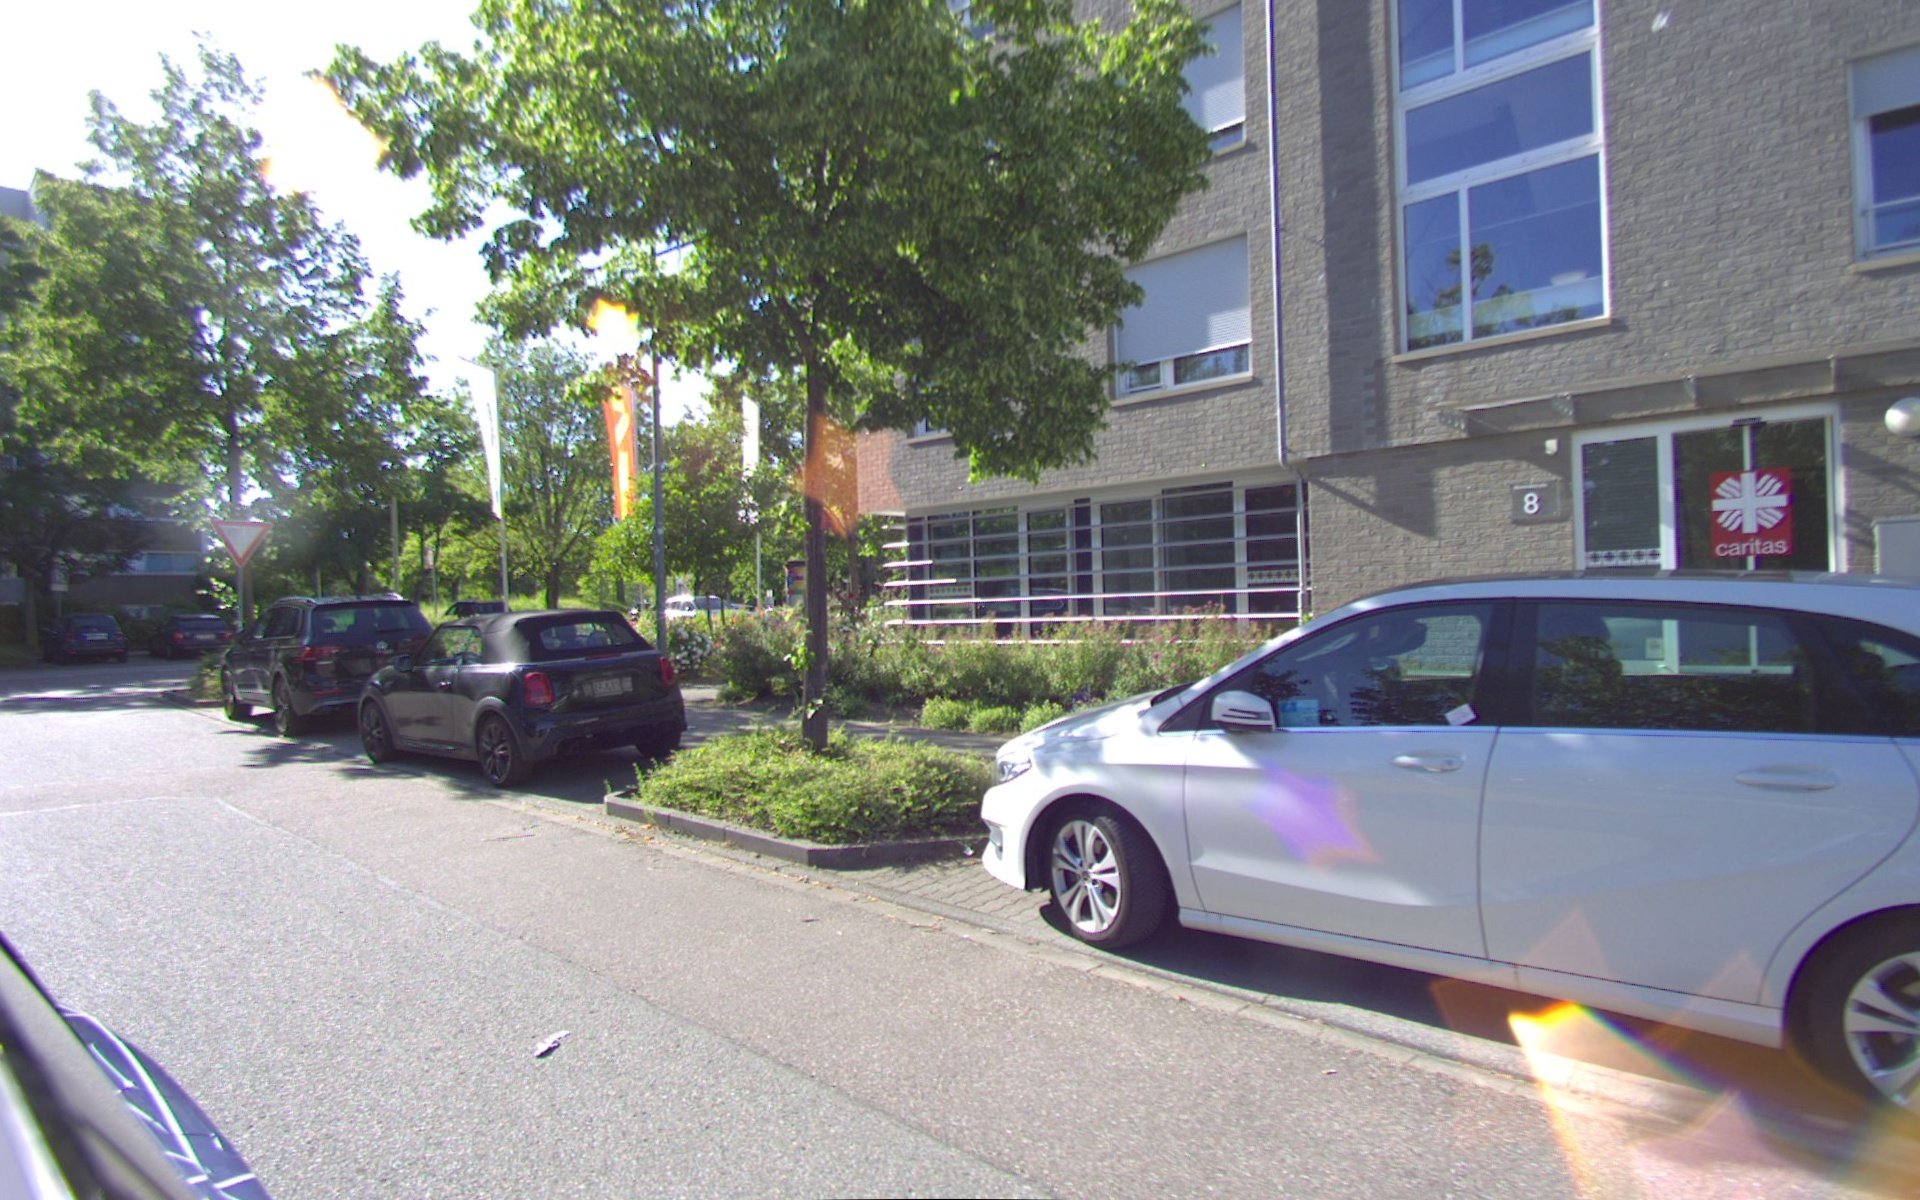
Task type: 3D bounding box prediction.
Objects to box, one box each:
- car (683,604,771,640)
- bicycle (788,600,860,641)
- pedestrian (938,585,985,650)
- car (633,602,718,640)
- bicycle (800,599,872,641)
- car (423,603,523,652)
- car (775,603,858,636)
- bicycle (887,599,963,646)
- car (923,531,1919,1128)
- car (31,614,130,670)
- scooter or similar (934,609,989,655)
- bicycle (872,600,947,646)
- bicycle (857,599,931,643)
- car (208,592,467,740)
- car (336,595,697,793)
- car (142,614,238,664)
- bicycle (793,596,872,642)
[{"bbox_3d":[-11.289,1.080,48.941,4.452,1.557,1.794,-3,-1,39],"label":"car"},{"bbox_3d":[-3.679,0.540,27.591,0.438,1.055,2.163,-3,-1,41],"label":"bicycle"},{"bbox_3d":[0.028,0.375,21.878,0.670,1.371,0.734,-2,0,43],"label":"pedestrian"},{"bbox_3d":[-13.085,0.939,46.452,4.128,1.630,1.711,0,2,40],"label":"car"},{"bbox_3d":[-3.316,0.520,27.271,0.438,1.055,2.163,-3,-1,41],"label":"bicycle"},{"bbox_3d":[-19.310,1.034,40.059,4.601,1.792,1.972,0,1,42],"label":"car"},{"bbox_3d":[-7.633,1.016,53.606,4.437,1.605,1.813,0,1,39],"label":"car"},{"bbox_3d":[-0.833,0.540,24.724,0.438,1.055,2.163,-3,-1,41],"label":"bicycle"},{"bbox_3d":[2.023,0.622,4.030,4.281,1.544,1.643,-2,-1,38],"label":"car"},{"bbox_3d":[-27.250,1.246,31.331,3.817,1.510,1.679,1,1,39],"label":"car"},{"bbox_3d":[0.035,0.689,21.858,0.806,0.961,0.856,-3,-1,42],"label":"scooter or similar"},{"bbox_3d":[-1.230,0.553,25.087,0.438,1.055,2.163,-3,-1,41],"label":"bicycle"},{"bbox_3d":[-1.653,0.521,25.835,0.438,1.055,2.163,-3,-1,41],"label":"bicycle"},{"bbox_3d":[-8.387,0.745,13.470,4.339,1.632,1.866,0,1,43],"label":"car"},{"bbox_3d":[-4.323,0.766,9.633,3.786,1.515,1.563,-2,0,39],"label":"car"},{"bbox_3d":[-25.445,1.234,33.397,3.999,1.397,1.797,1,1,42],"label":"car"},{"bbox_3d":[-3.135,0.464,25.049,0.438,1.055,2.163,-3,-1,41],"label":"bicycle"}]
